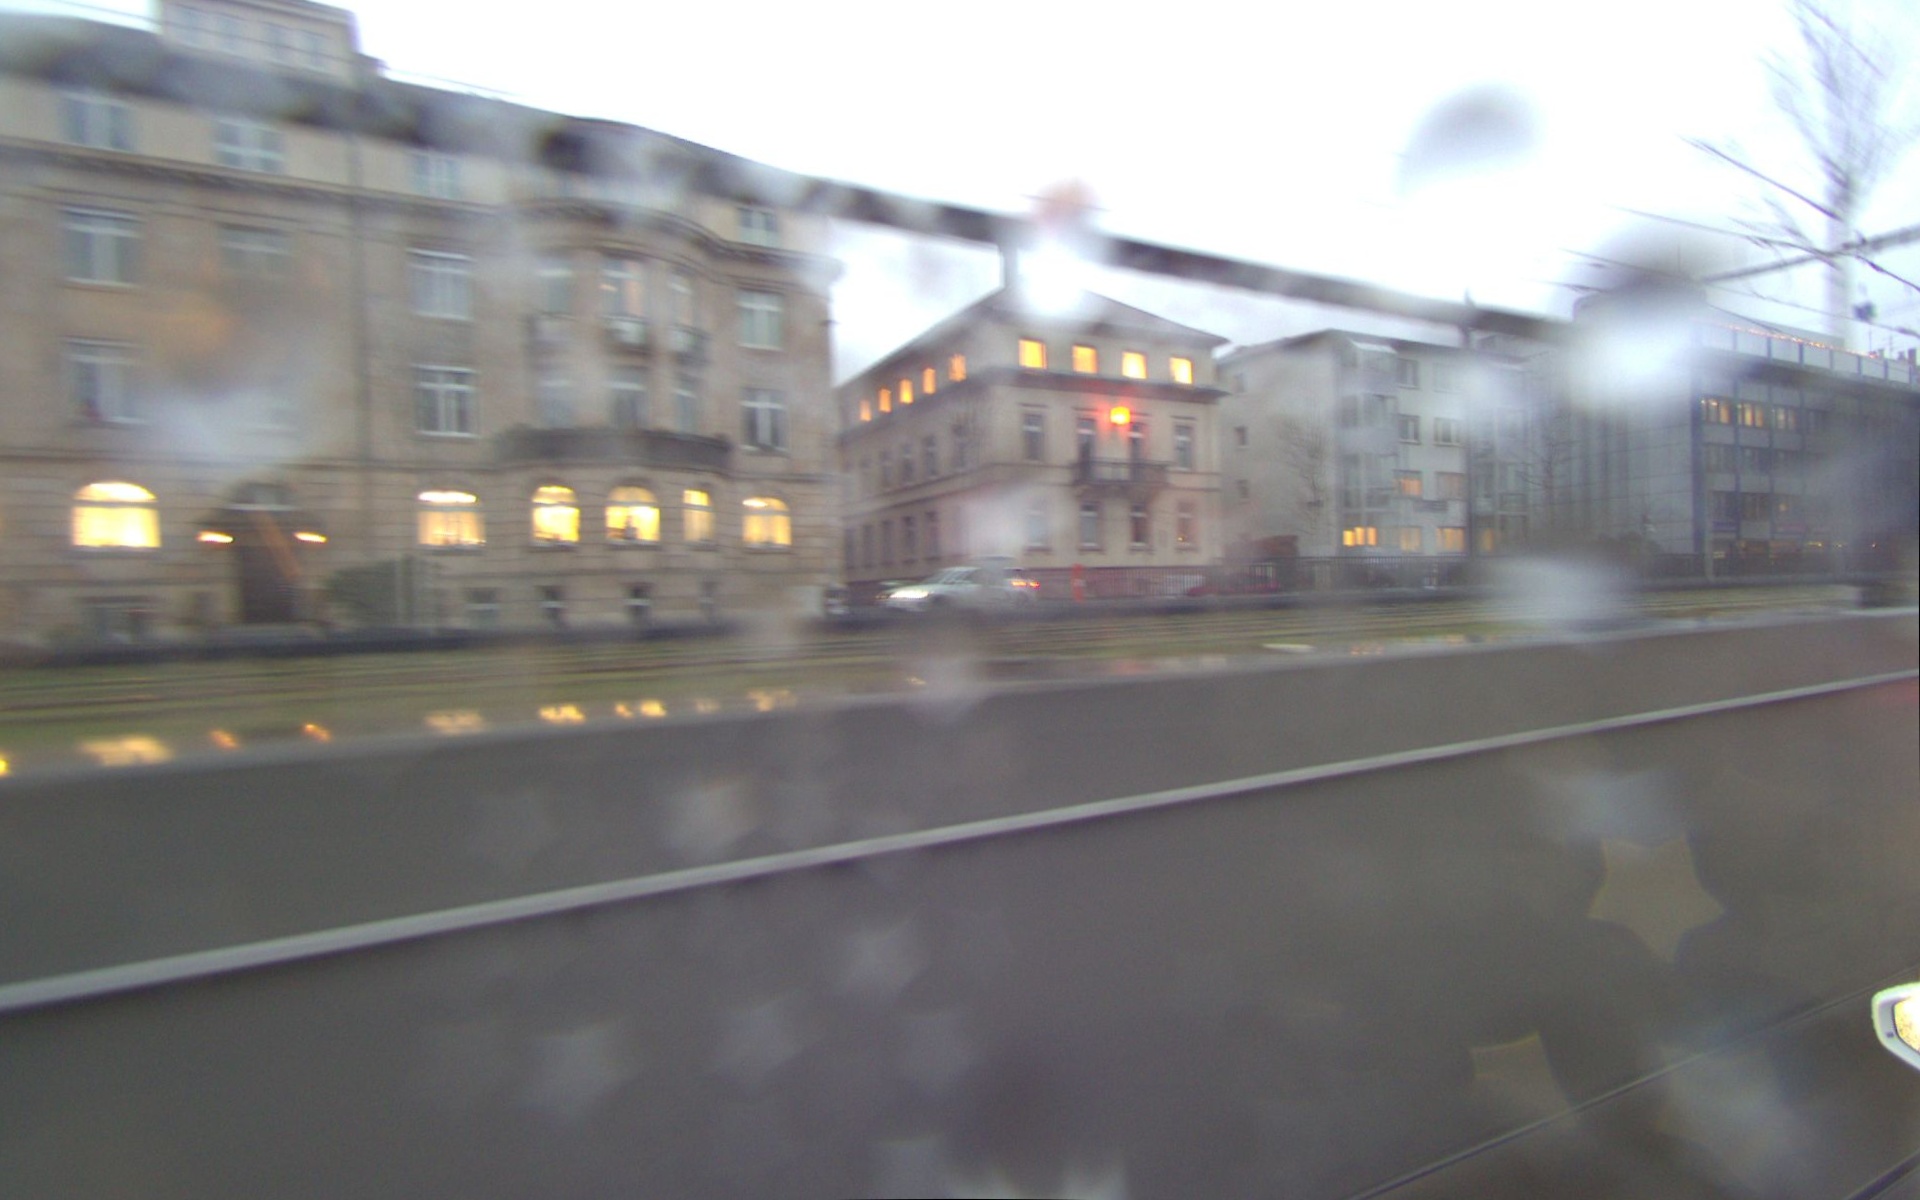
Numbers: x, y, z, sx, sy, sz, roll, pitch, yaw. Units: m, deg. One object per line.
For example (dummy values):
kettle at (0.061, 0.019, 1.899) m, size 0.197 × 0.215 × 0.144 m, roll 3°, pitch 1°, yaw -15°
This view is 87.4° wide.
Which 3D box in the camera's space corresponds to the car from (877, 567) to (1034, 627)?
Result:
car at (-0.131, -0.107, 30.626) m, size 4.374 × 1.653 × 1.985 m, roll -2°, pitch 1°, yaw -29°
